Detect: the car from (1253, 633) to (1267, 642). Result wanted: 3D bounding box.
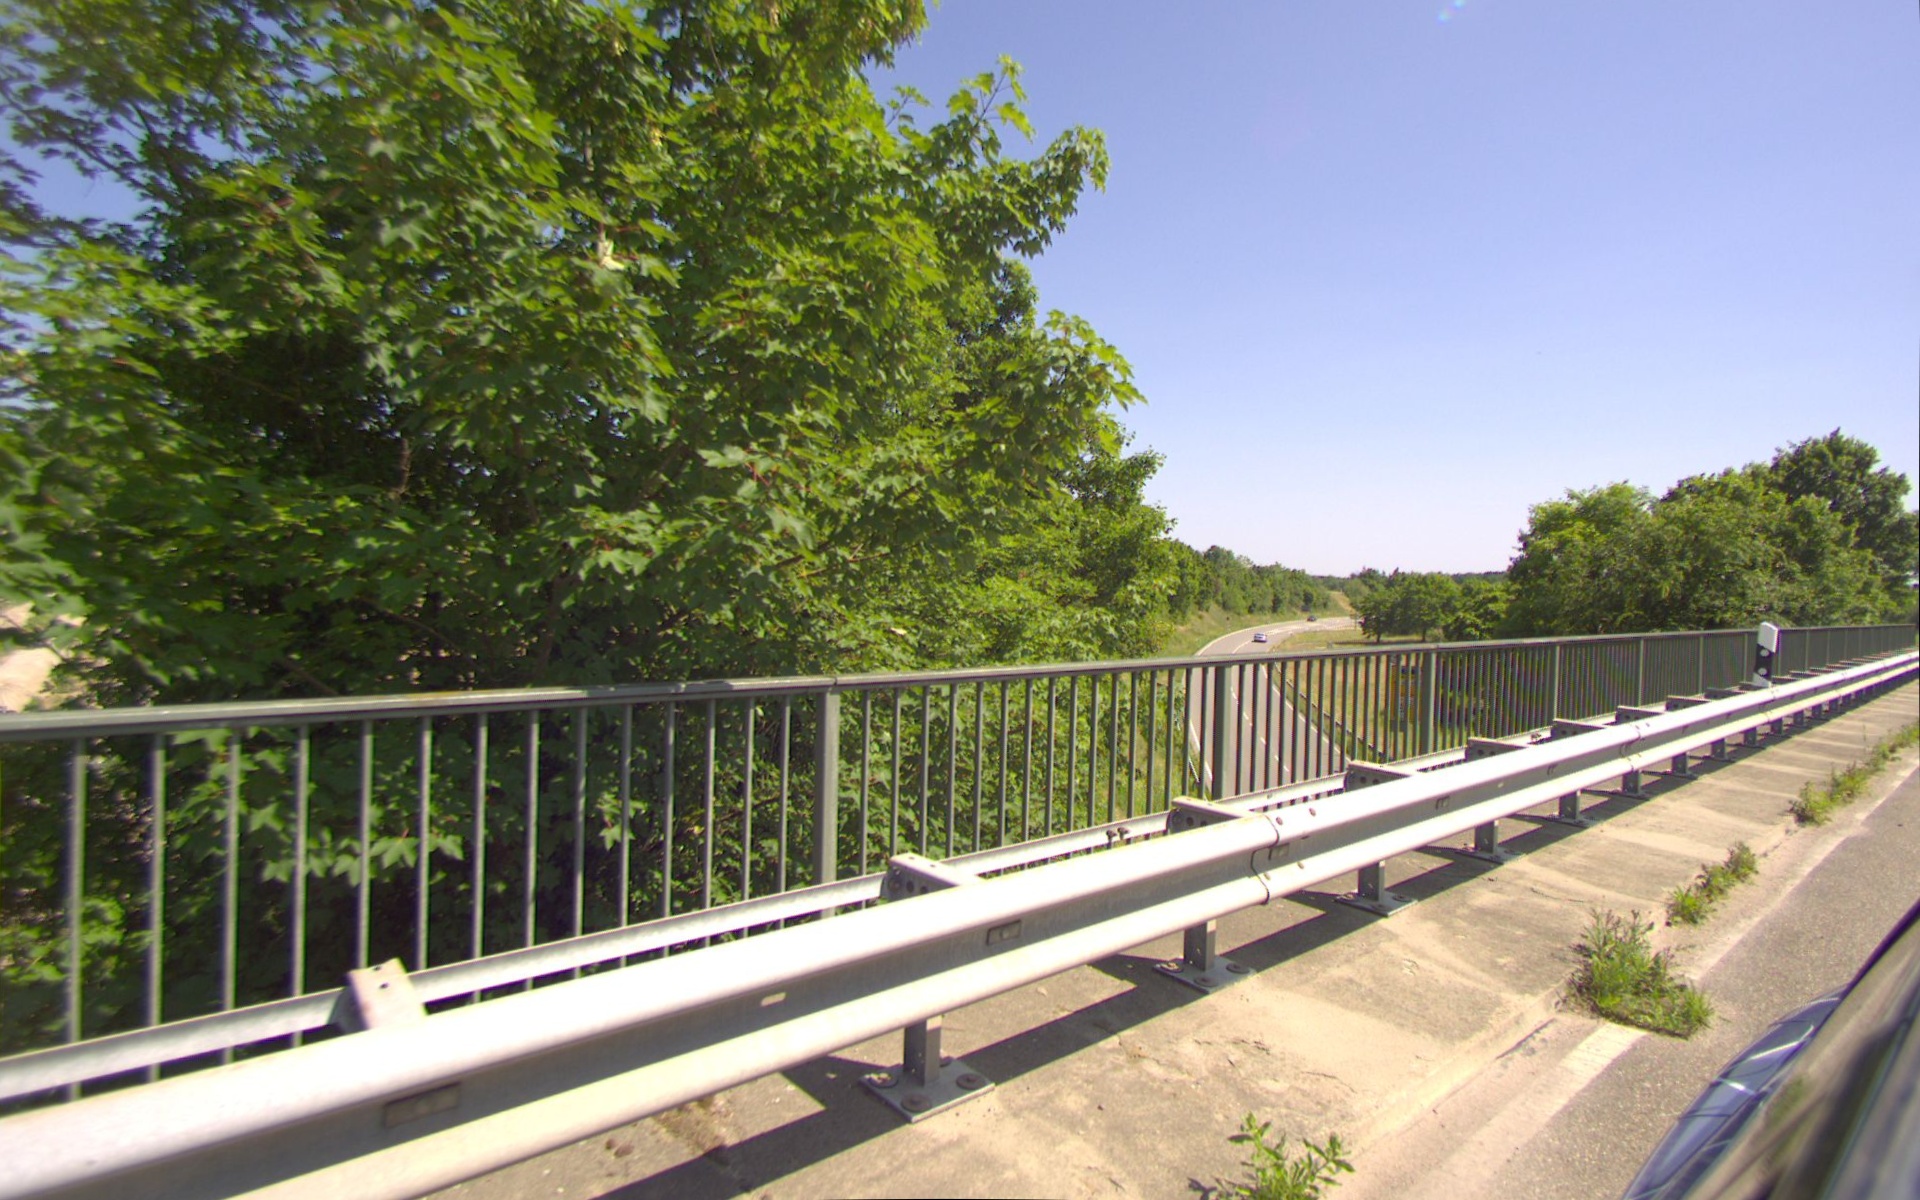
[{"bbox_3d":[46.627,5.806,157.238,1.498,1.210,3.411,6,0,9],"label":"car"}]
